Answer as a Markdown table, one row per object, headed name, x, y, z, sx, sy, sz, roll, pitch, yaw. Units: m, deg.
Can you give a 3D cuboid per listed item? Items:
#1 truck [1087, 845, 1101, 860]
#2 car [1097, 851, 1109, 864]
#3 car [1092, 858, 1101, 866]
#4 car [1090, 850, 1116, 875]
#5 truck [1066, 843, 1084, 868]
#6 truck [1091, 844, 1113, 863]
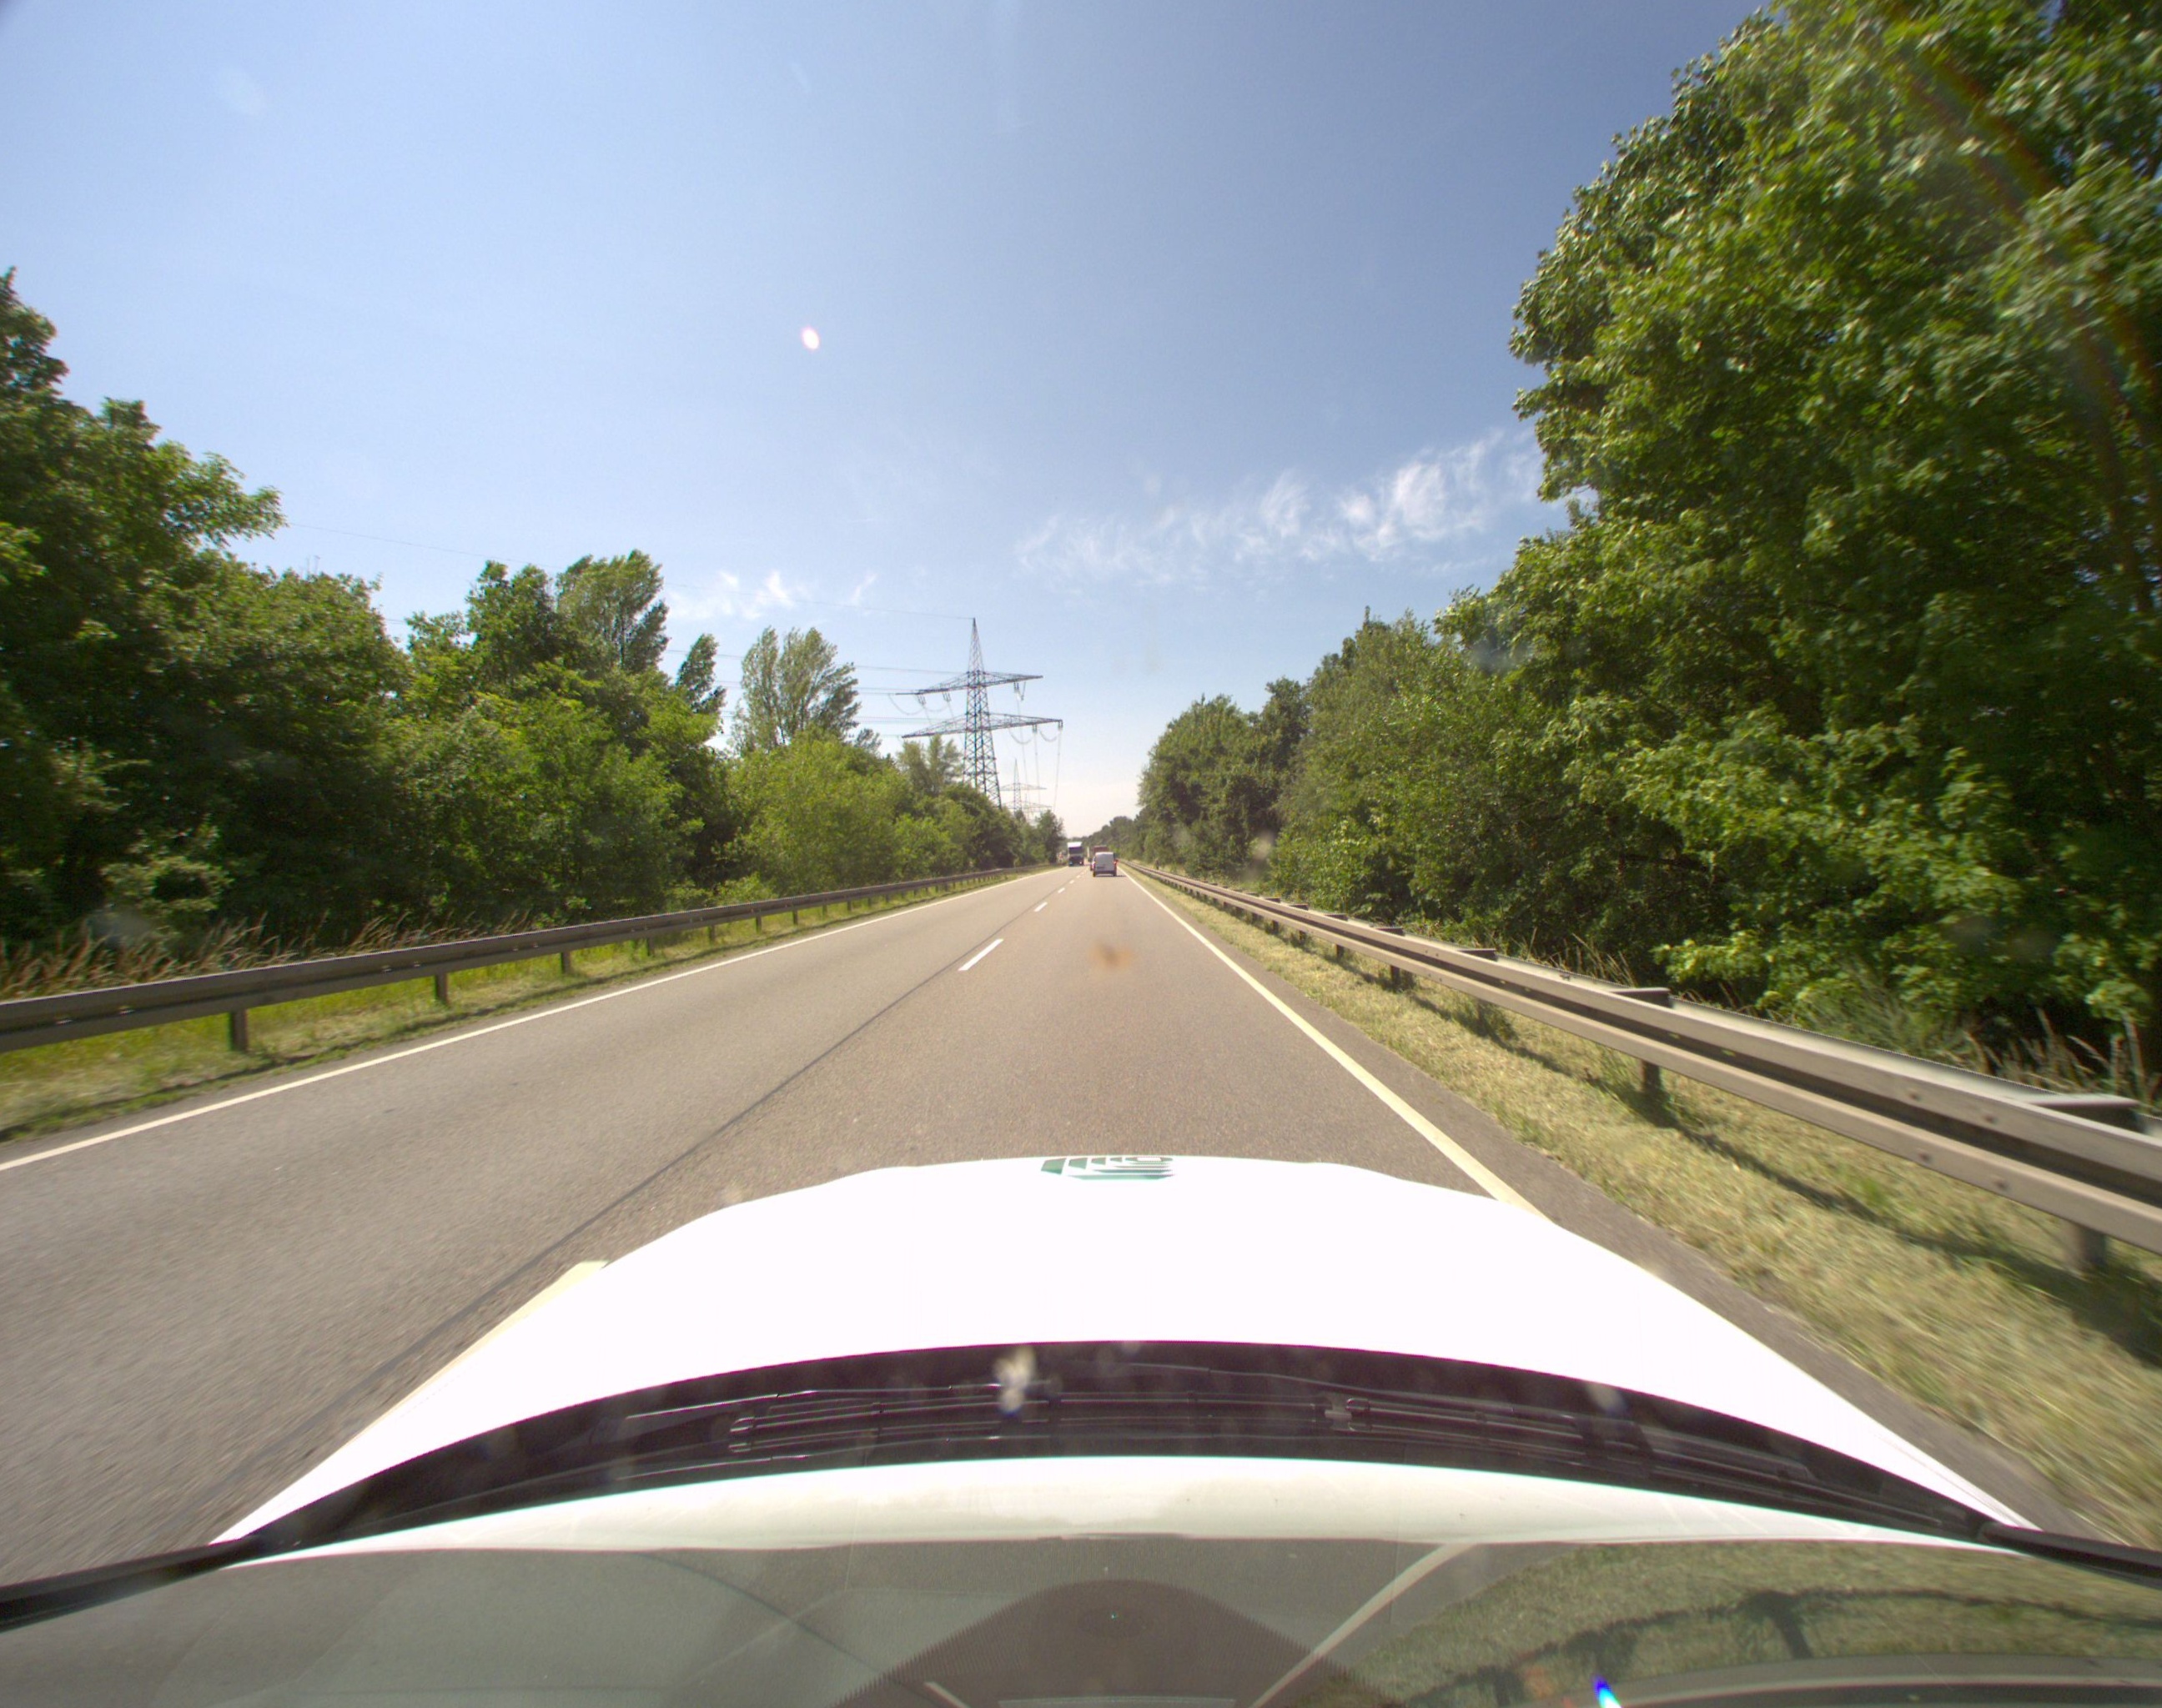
| name | x | y | z | sx | sy | sz | roll | pitch | yaw |
| --- | --- | --- | --- | --- | --- | --- | --- | --- | --- |
| truck | 3.441 | -0.549 | 219.744 | 3.392 | 3.854 | 16.812 | -1 | 1 | -1 |
| car | 3.515 | 0.622 | 131.906 | 1.758 | 2.013 | 3.998 | -1 | 0 | -1 |
| car | 3.577 | 1.831 | 186.978 | 1.987 | 1.526 | 3.999 | -4 | 0 | 0 |
| car | 1.645 | 0.597 | 60.684 | 1.868 | 1.741 | 4.001 | -1 | 1 | 1 |
| truck | -0.990 | 0.285 | 136.555 | 2.753 | 3.999 | 5.908 | -1 | 0 | 1 |
| truck | 3.548 | -0.154 | 143.426 | 3.287 | 3.171 | 14.400 | -1 | 1 | -1 |
